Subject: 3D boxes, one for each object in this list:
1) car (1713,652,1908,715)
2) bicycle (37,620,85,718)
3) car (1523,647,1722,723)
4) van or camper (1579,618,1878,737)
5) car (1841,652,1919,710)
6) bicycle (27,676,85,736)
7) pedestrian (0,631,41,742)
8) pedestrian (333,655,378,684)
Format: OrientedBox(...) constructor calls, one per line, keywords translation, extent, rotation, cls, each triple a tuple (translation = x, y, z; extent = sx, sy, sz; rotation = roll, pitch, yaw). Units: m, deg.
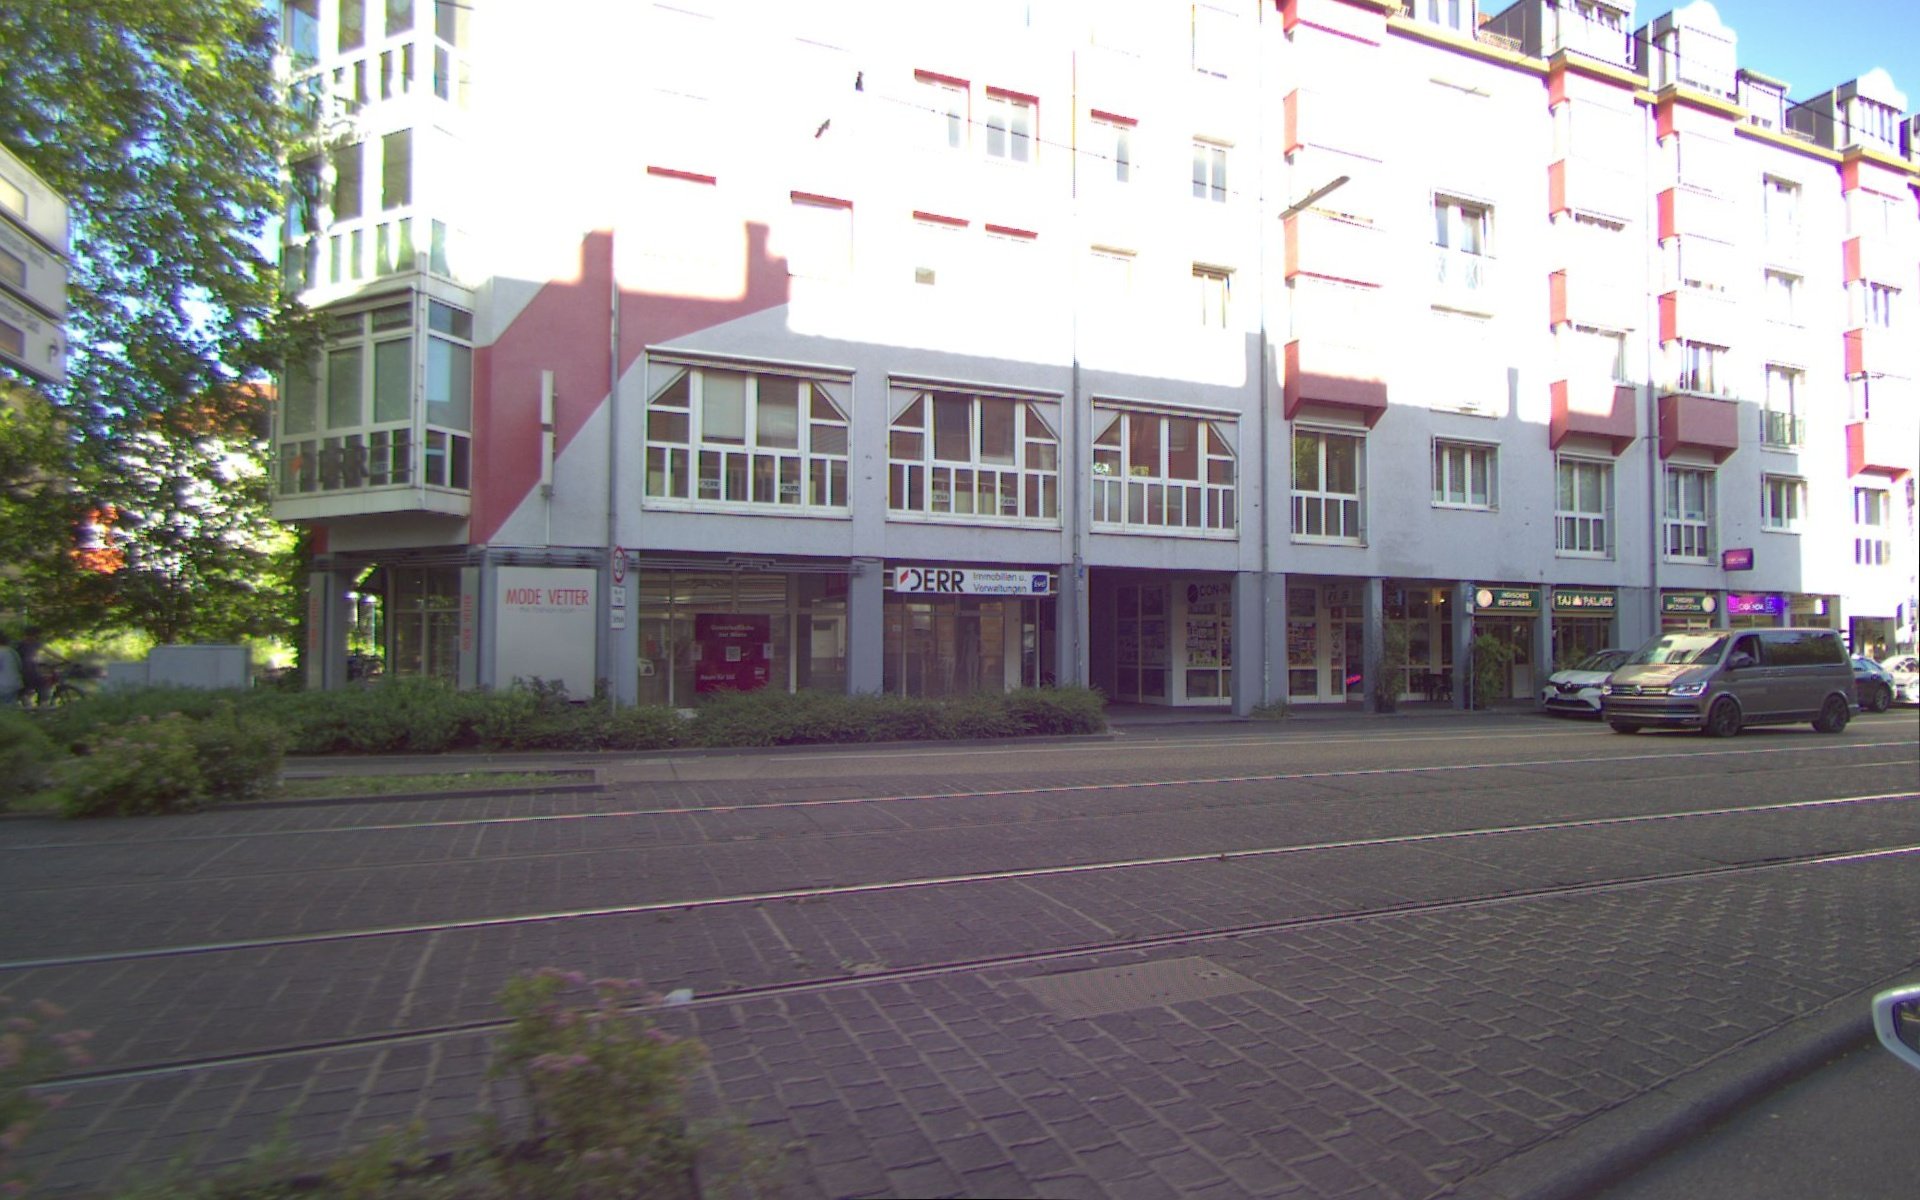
OrientedBox(translation=(22.025, 2.108, 26.009), extent=(4.757, 1.477, 1.898), rotation=(1, -2, -23), cls="car")
OrientedBox(translation=(-16.275, 1.234, 18.196), extent=(0.578, 1.738, 0.640), rotation=(1, -2, -38), cls="bicycle")
OrientedBox(translation=(15.560, 1.927, 23.592), extent=(4.310, 1.635, 1.912), rotation=(1, -2, -25), cls="car")
OrientedBox(translation=(14.022, 1.400, 18.367), extent=(4.759, 1.965, 1.993), rotation=(1, -5, -19), cls="van or camper")
OrientedBox(translation=(26.711, 2.197, 27.956), extent=(4.150, 1.494, 1.747), rotation=(1, -2, -25), cls="car")
OrientedBox(translation=(-16.147, 1.868, 17.981), extent=(0.642, 0.979, 2.146), rotation=(2, -4, -39), cls="bicycle")
OrientedBox(translation=(-14.504, 1.298, 15.238), extent=(0.680, 1.658, 0.674), rotation=(-1, -2, 36), cls="pedestrian")
OrientedBox(translation=(-22.448, 2.578, 37.318), extent=(1.252, 1.007, 1.244), rotation=(1, -2, -24), cls="pedestrian")
